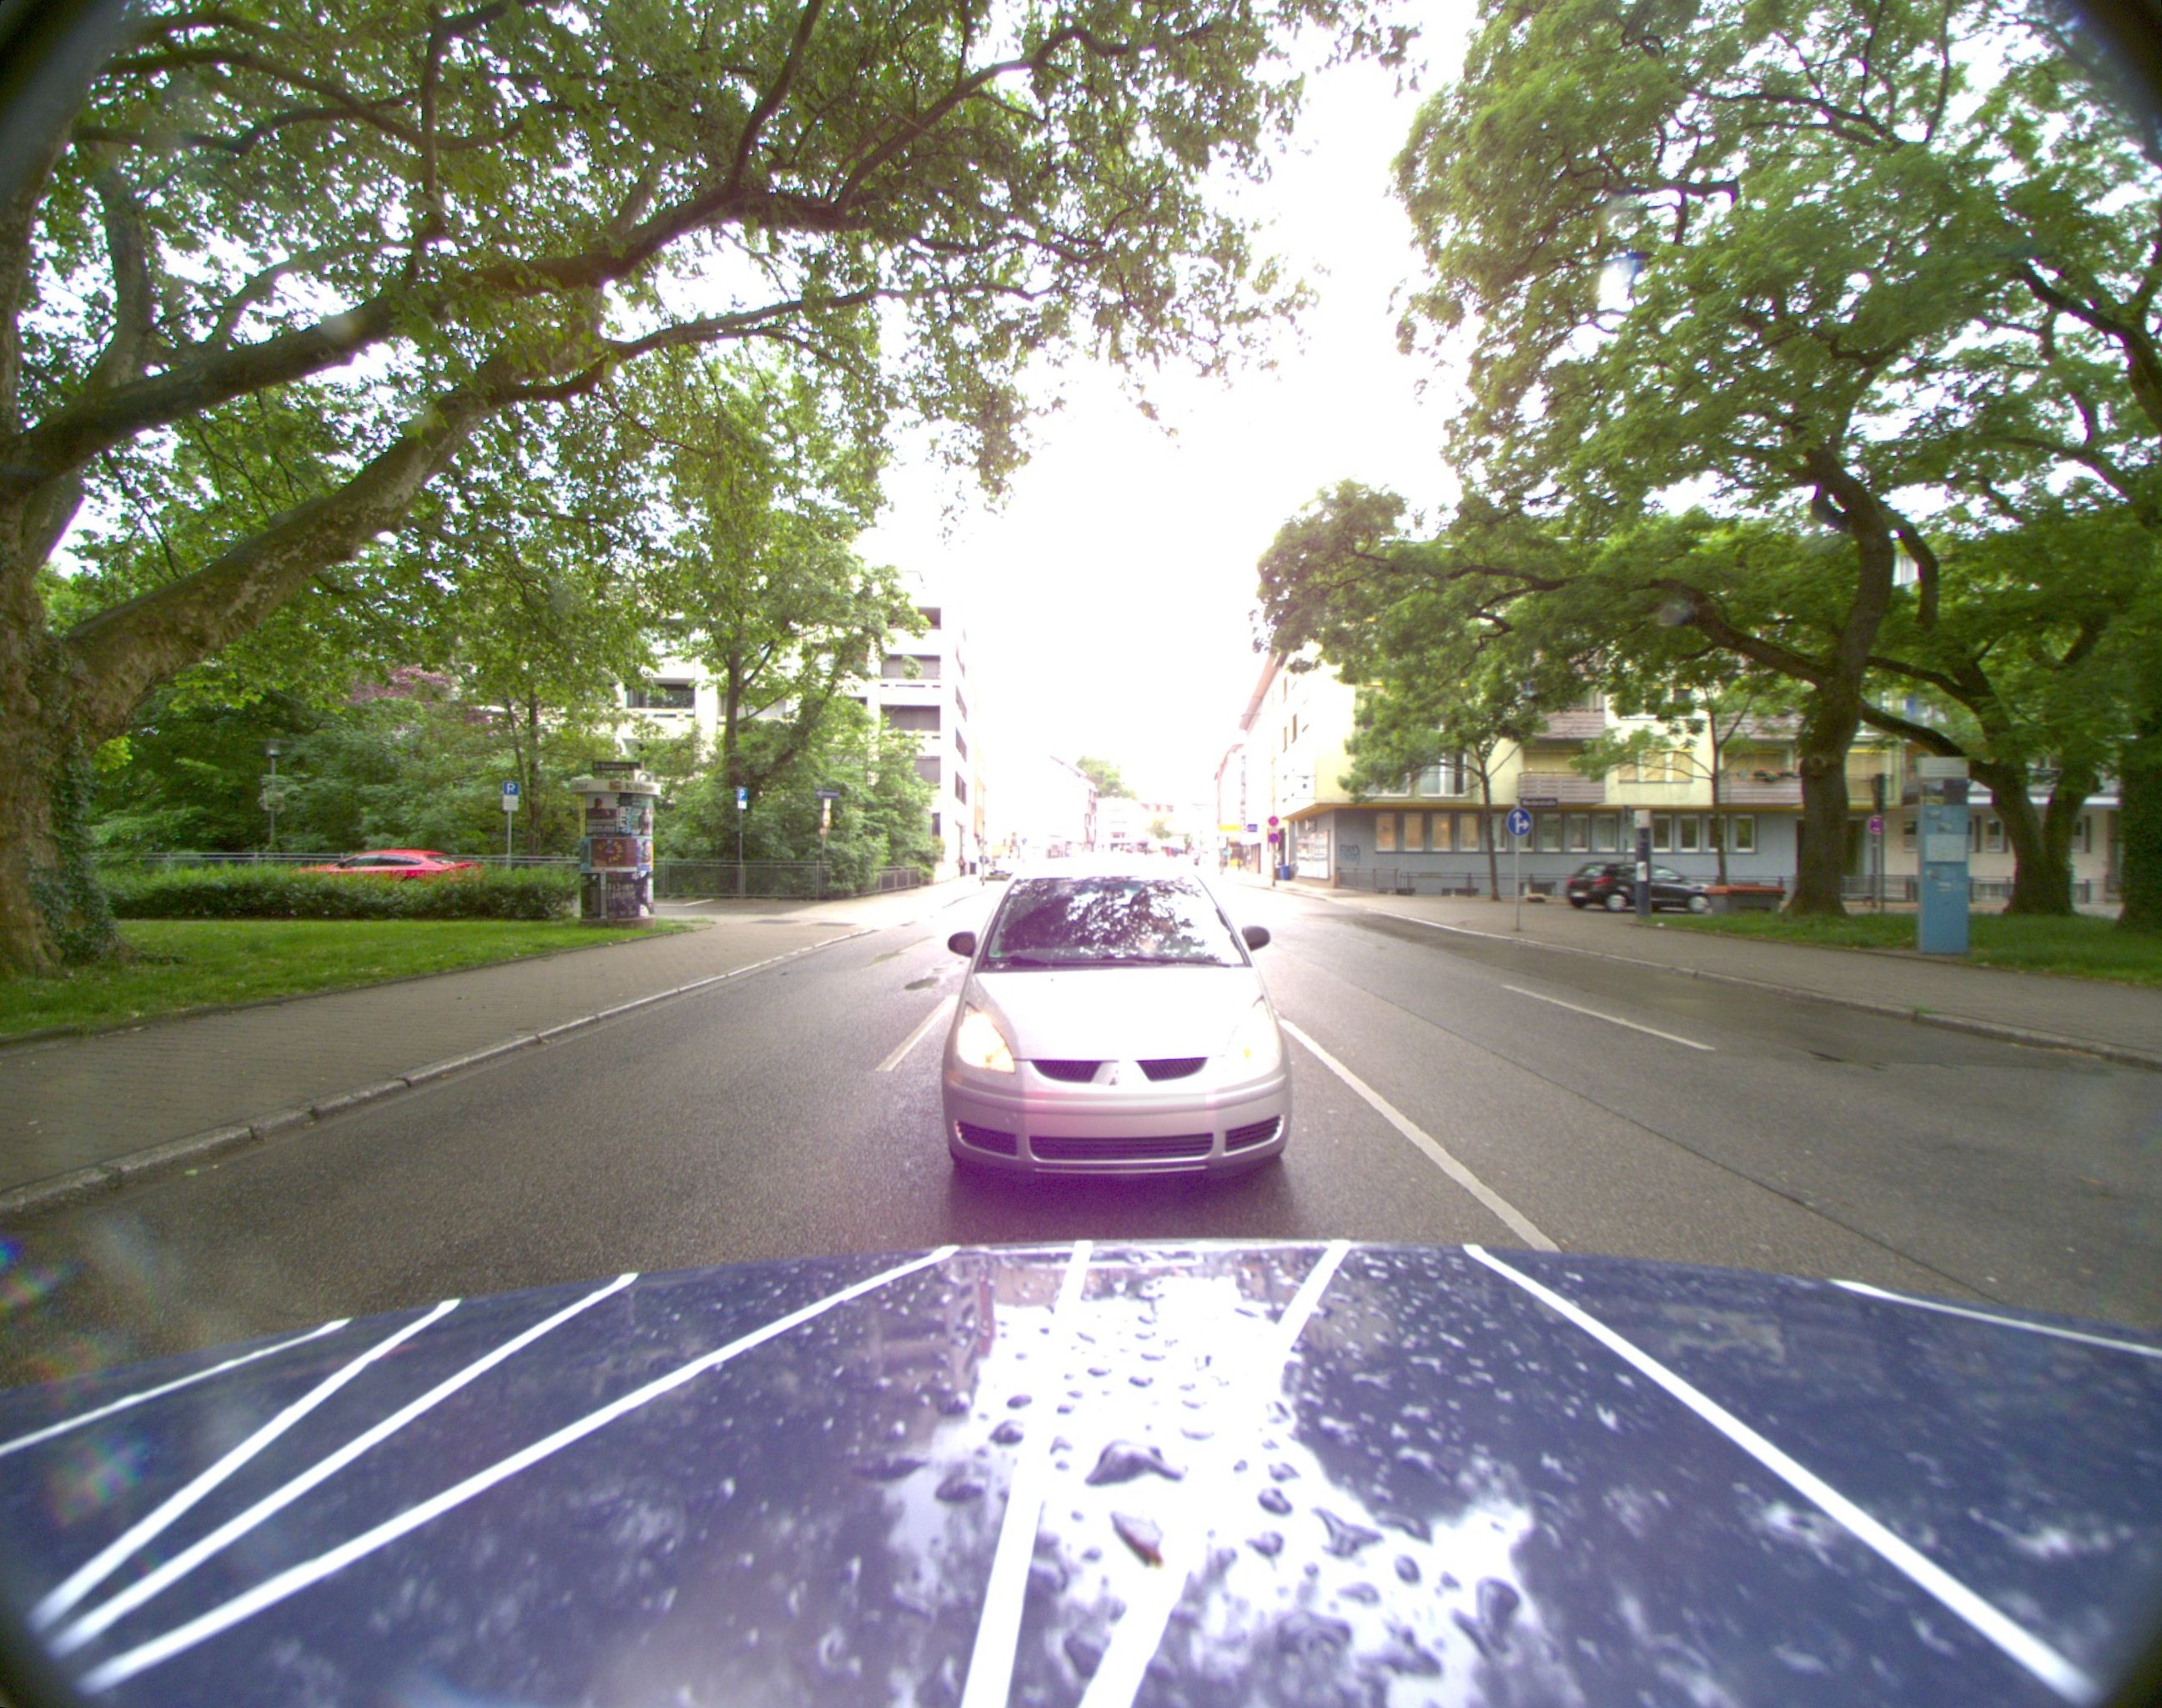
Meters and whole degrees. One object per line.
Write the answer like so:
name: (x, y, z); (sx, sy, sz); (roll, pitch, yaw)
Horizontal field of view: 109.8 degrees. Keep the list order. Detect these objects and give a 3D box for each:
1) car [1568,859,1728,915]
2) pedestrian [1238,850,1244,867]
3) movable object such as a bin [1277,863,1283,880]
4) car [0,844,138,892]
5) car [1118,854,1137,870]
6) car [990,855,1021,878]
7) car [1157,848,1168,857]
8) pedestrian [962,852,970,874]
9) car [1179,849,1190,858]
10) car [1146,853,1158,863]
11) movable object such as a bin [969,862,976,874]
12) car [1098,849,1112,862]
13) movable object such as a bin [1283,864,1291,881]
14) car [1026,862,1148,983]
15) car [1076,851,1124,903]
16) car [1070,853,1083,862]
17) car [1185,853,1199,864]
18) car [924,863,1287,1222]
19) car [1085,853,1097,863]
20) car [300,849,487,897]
car: (16.726, 0.951, 22.510); (3.565, 1.480, 1.572); (1, 1, -2)
pedestrian: (17.747, 0.501, 84.049); (0.594, 1.833, 0.565); (1, 1, 8)
movable object such as a bin: (12.676, 1.110, 48.369); (0.338, 1.023, 0.353); (1, 1, 8)
car: (-29.176, 0.375, 21.291); (3.468, 1.271, 1.448); (1, 1, -5)
car: (4.577, 0.771, 74.919); (1.701, 1.433, 3.897); (1, 0, 1)
car: (-5.306, 0.861, 53.521); (1.681, 1.424, 3.681); (3, 0, 1)
car: (15.949, -0.286, 149.324); (1.998, 1.841, 4.001); (1, 0, 4)
pedestrian: (-8.118, 0.650, 53.651); (0.480, 1.521, 0.481); (-2, 1, 1)
car: (20.561, -0.104, 150.489); (1.867, 1.648, 4.001); (1, 0, 4)
car: (12.431, 0.689, 132.642); (1.998, 1.631, 4.001); (1, 0, 4)
movable object such as a bin: (-8.985, 1.167, 62.948); (0.556, 1.035, 0.292); (1, 1, 0)
car: (3.545, 0.216, 113.348); (1.935, 1.817, 3.999); (-2, 1, 0)
movable object such as a bin: (13.082, 1.166, 48.236); (0.415, 1.023, 0.353); (1, 1, 8)
car: (0.152, 0.922, 11.924); (1.590, 1.540, 3.771); (1, 0, 2)
car: (0.643, 0.772, 27.278); (1.584, 1.705, 3.649); (1, 0, 0)
car: (-0.665, 0.515, 113.433); (1.802, 1.433, 3.896); (1, 0, 0)
car: (17.772, 0.695, 121.397); (1.889, 1.707, 4.001); (1, 0, 4)
car: (0.135, 0.861, 4.990); (1.576, 1.514, 3.241); (-1, 0, 1)
car: (1.584, 0.627, 120.030); (1.802, 1.433, 3.897); (1, 0, 1)
car: (-19.419, 0.519, 21.590); (3.790, 1.271, 1.576); (1, 1, -3)
